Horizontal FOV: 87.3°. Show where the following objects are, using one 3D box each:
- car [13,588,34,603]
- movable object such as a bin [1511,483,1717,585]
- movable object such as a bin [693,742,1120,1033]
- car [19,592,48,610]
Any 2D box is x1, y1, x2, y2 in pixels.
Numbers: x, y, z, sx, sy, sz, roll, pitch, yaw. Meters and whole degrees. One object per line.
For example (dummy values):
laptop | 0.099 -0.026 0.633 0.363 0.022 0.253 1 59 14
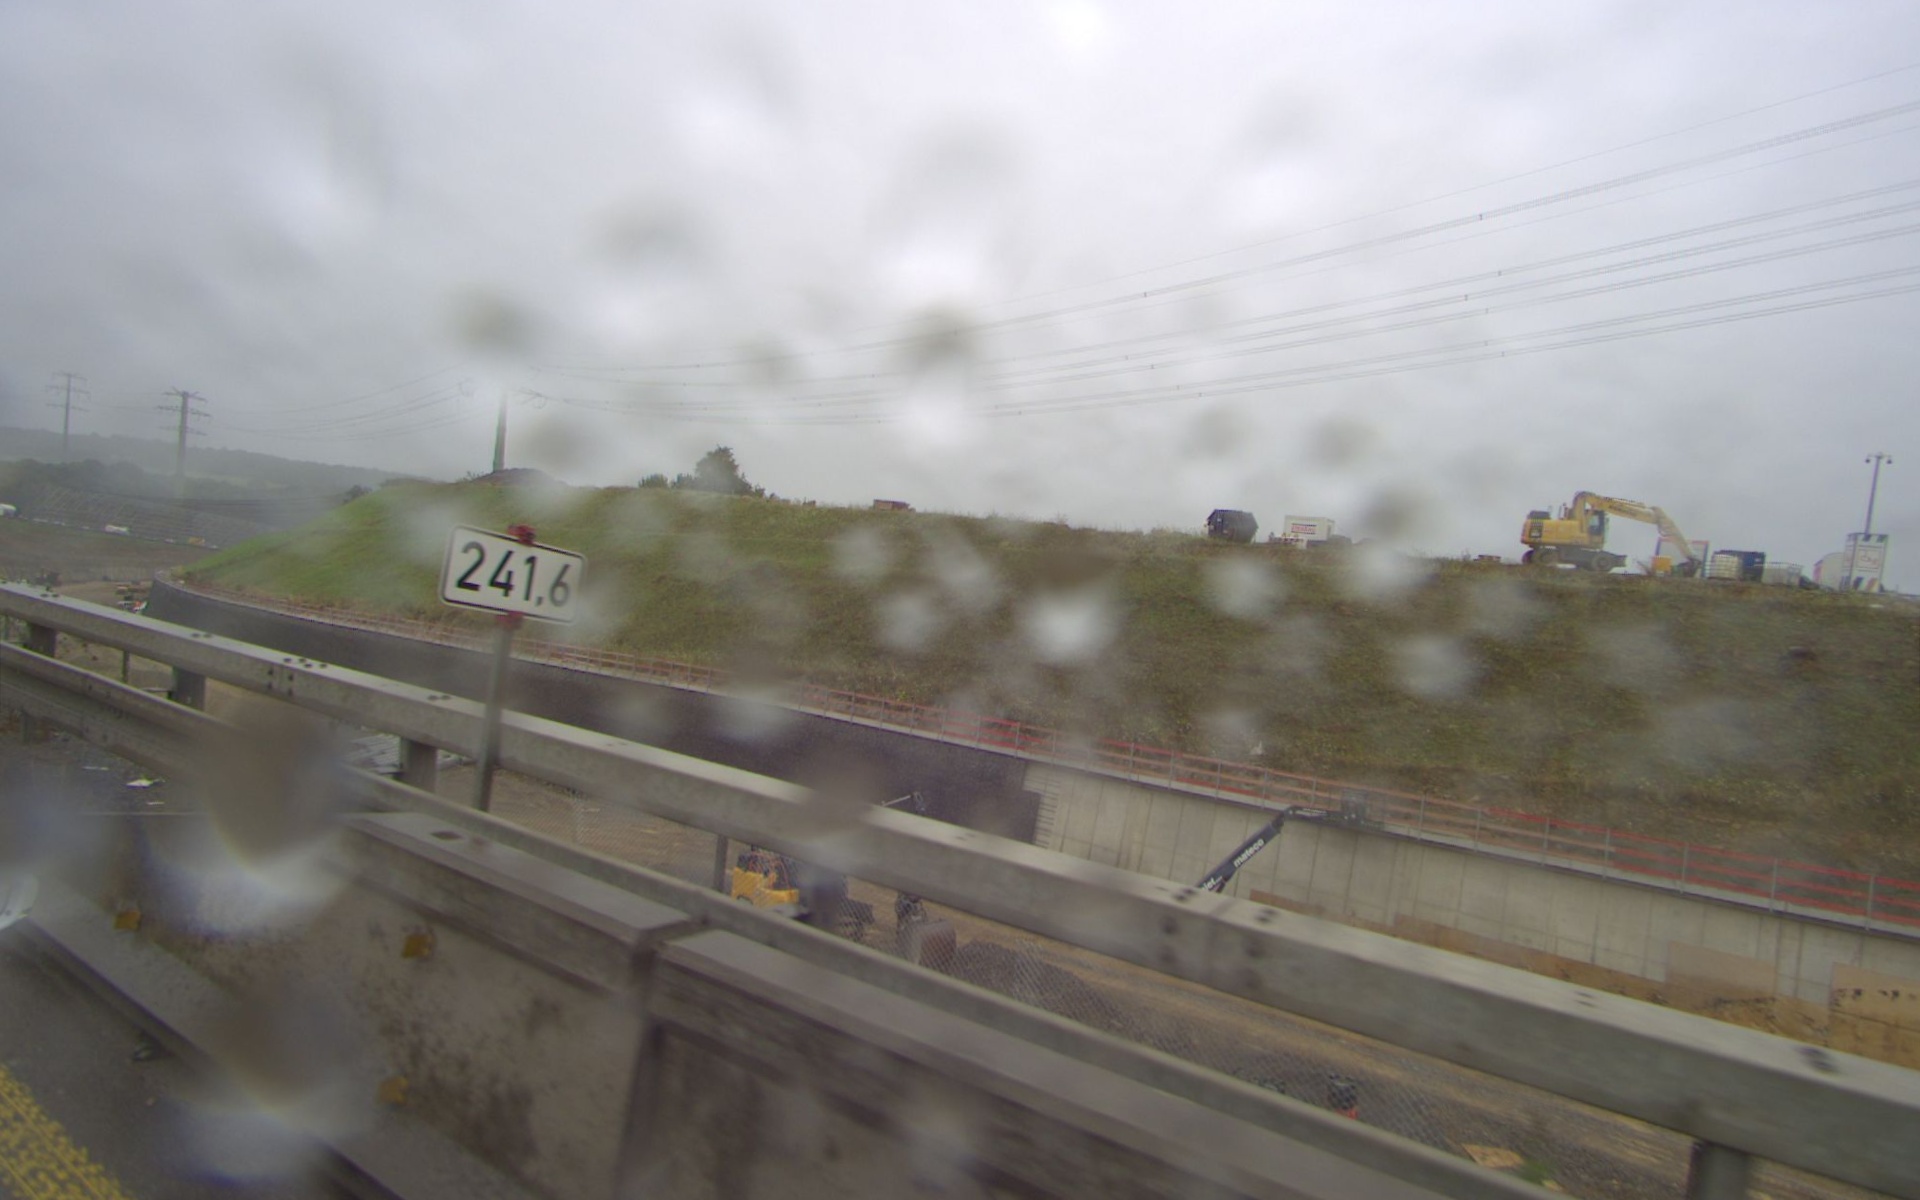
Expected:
car | -144.476 -0.695 155.163 3.946 1.837 1.991 5 -2 42
movable object such as a bin | 32.556 -3.364 50.378 8.049 4.259 3.100 7 0 35
movable object such as a bin | -1.865 7.902 30.435 11.902 5.731 4.902 3 -4 34
car | -132.627 0.087 144.030 3.943 2.037 2.364 6 -2 40
